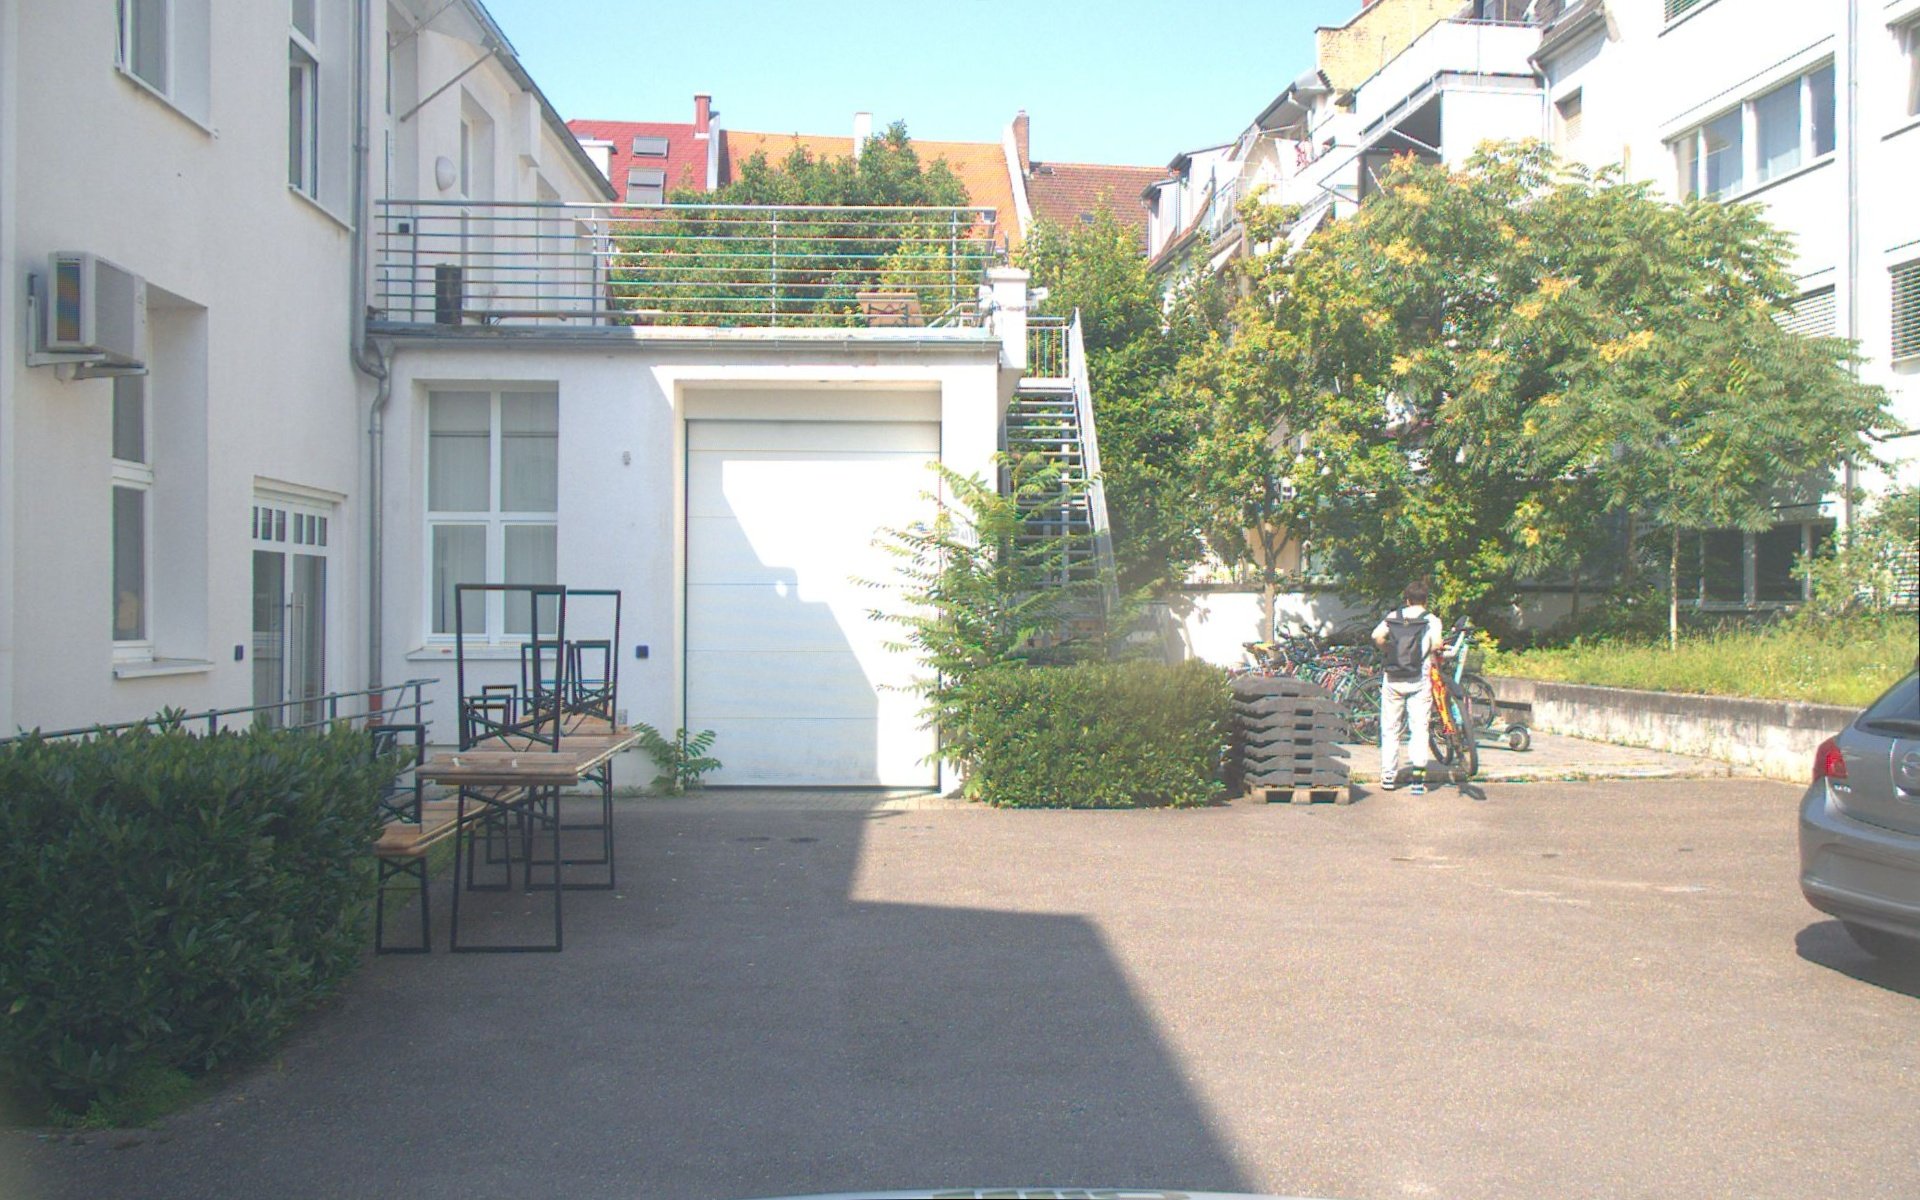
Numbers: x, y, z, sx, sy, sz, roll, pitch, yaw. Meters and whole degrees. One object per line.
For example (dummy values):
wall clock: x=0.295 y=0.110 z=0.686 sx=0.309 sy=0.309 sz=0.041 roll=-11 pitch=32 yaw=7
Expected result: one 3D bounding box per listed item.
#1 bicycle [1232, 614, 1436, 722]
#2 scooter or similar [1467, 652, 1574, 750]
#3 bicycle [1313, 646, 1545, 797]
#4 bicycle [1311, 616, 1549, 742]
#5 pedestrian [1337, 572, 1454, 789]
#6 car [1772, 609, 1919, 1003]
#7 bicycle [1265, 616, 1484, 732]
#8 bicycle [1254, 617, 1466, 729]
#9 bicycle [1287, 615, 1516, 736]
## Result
bicycle: x=4.552 y=0.825 z=20.206 sx=2.362 sy=1.268 sz=0.526 roll=1 pitch=0 yaw=-2
scooter or similar: x=5.696 y=1.015 z=16.834 sx=0.357 sy=0.940 sz=0.985 roll=1 pitch=-1 yaw=-39
bicycle: x=3.984 y=1.002 z=14.194 sx=0.486 sy=1.163 sz=1.963 roll=-1 pitch=0 yaw=-42
bicycle: x=4.937 y=0.821 z=17.431 sx=2.362 sy=1.268 sz=0.526 roll=1 pitch=0 yaw=-2
pedestrian: x=3.751 y=0.672 z=14.232 sx=0.854 sy=1.803 sz=0.601 roll=1 pitch=-1 yaw=-44
car: x=5.513 y=0.782 z=6.756 sx=3.832 sy=1.491 sz=1.656 roll=0 pitch=0 yaw=-15
bicycle: x=4.718 y=0.836 z=18.880 sx=2.362 sy=1.268 sz=0.526 roll=1 pitch=0 yaw=-2
bicycle: x=4.703 y=0.851 z=19.496 sx=2.362 sy=1.268 sz=0.526 roll=1 pitch=0 yaw=-2
bicycle: x=4.809 y=0.821 z=18.086 sx=2.362 sy=1.268 sz=0.526 roll=1 pitch=0 yaw=-2
